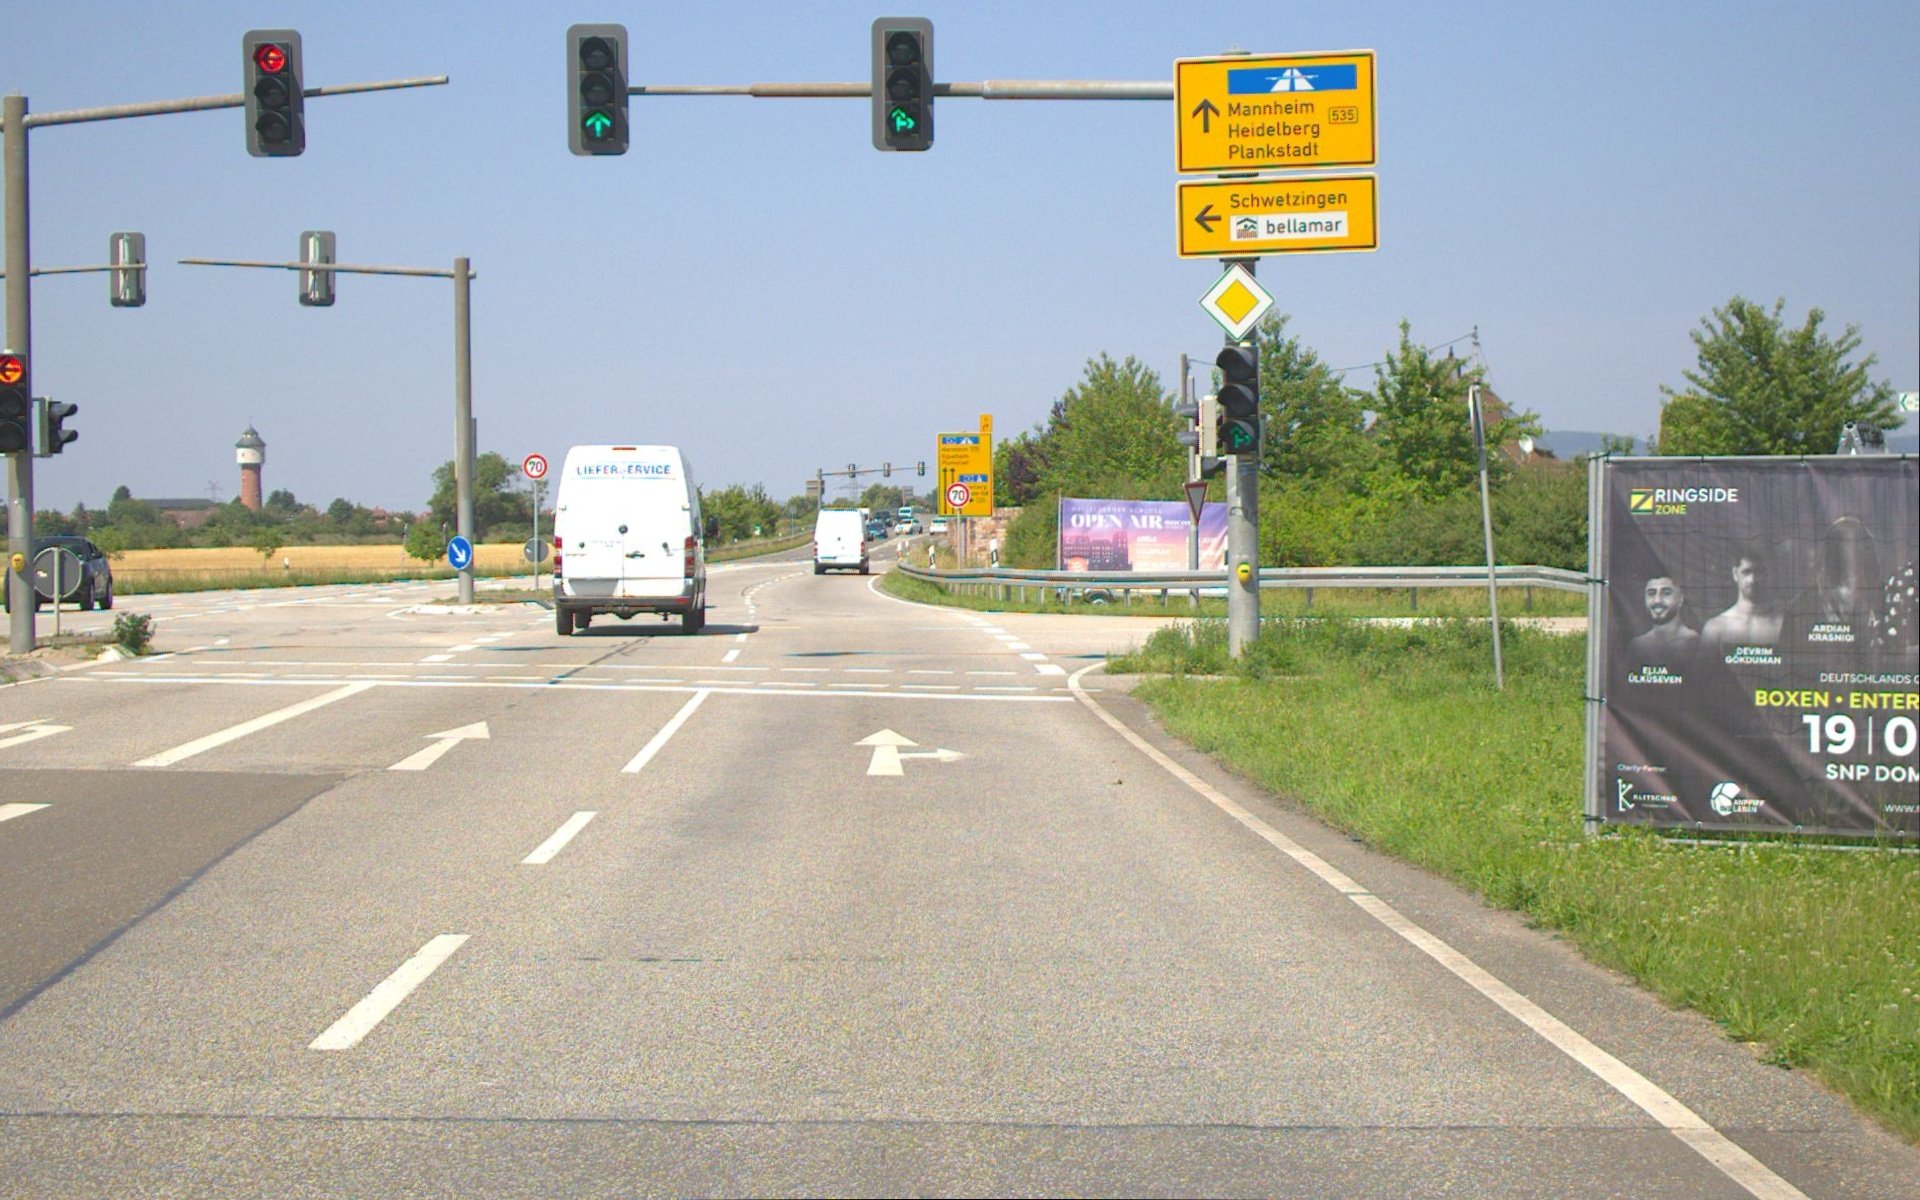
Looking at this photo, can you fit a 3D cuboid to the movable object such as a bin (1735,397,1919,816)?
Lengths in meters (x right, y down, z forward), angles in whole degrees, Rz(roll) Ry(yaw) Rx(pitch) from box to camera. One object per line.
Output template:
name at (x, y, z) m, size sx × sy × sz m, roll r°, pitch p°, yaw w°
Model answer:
movable object such as a bin at (5.824, 0.024, 21.577) m, size 1.523 × 2.355 × 4.421 m, roll 1°, pitch 1°, yaw 17°

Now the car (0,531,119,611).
car at (-18.896, -0.620, 72.111) m, size 1.830 × 1.594 × 4.306 m, roll -1°, pitch 1°, yaw -6°

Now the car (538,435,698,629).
car at (-4.852, -0.991, 49.465) m, size 2.039 × 2.611 × 5.742 m, roll 0°, pitch 1°, yaw -3°

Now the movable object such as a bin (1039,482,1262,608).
movable object such as a bin at (3.658, -1.059, 66.189) m, size 4.093 × 2.323 × 1.278 m, roll 1°, pitch 0°, yaw -6°

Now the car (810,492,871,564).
car at (-4.635, -2.793, 134.248) m, size 1.993 × 2.686 × 4.969 m, roll 1°, pitch 0°, yaw 2°
